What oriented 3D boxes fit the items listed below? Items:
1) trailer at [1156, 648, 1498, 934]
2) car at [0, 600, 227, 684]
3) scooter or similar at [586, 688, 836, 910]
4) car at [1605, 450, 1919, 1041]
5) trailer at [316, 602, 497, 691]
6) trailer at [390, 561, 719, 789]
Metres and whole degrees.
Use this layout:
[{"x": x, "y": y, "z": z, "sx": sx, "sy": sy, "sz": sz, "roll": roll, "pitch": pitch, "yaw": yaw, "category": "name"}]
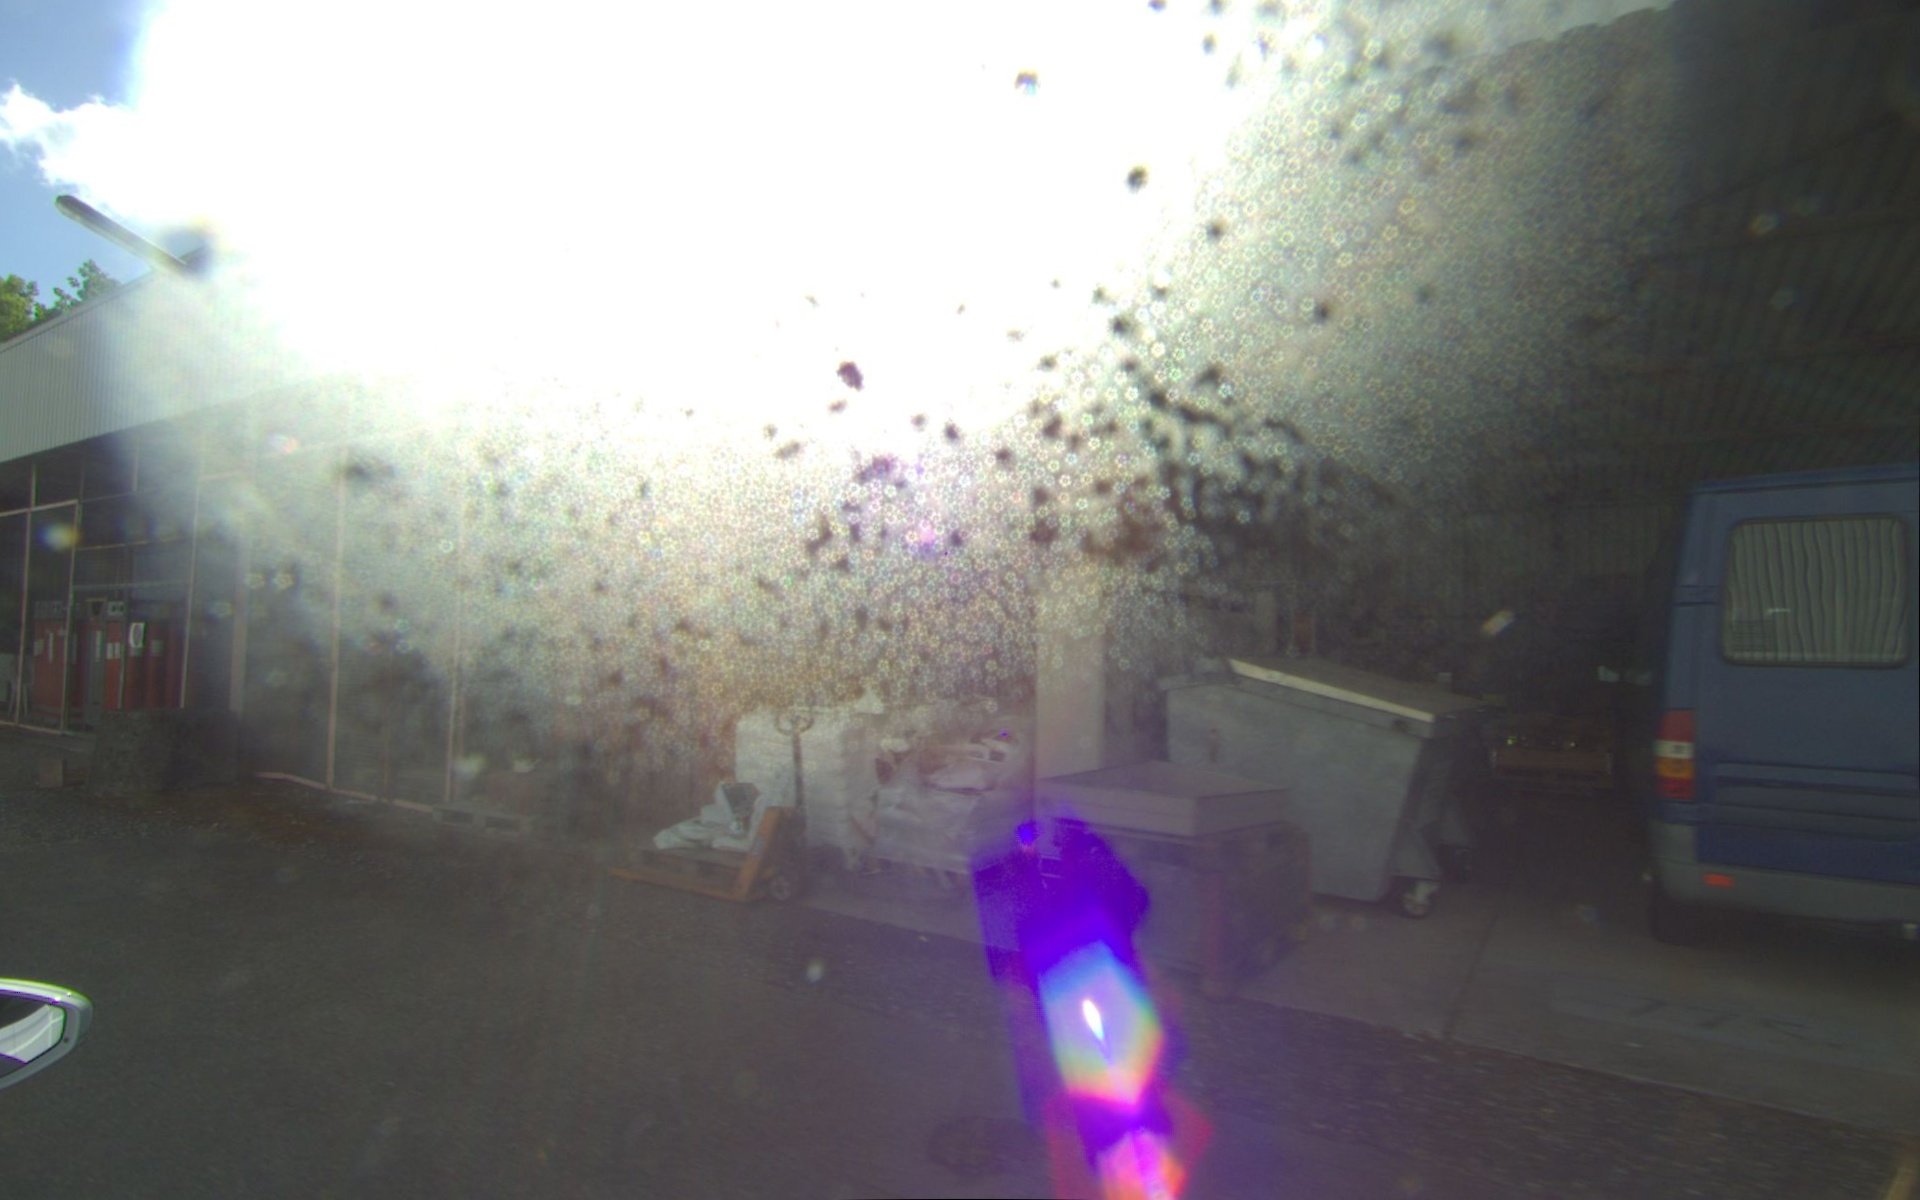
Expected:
[{"x": 2.474, "y": 1.080, "z": 6.577, "sx": 1.620, "sy": 1.480, "sz": 2.089, "roll": -1, "pitch": -4, "yaw": 36, "category": "trailer"}, {"x": -22.147, "y": 1.121, "z": 25.448, "sx": 2.243, "sy": 1.941, "sz": 5.167, "roll": 0, "pitch": -4, "yaw": 27, "category": "car"}, {"x": -1.540, "y": 1.136, "z": 6.099, "sx": 1.570, "sy": 1.148, "sz": 0.519, "roll": -1, "pitch": -3, "yaw": 33, "category": "scooter or similar"}, {"x": 5.229, "y": 0.720, "z": 6.125, "sx": 2.054, "sy": 2.325, "sz": 5.211, "roll": 0, "pitch": -3, "yaw": 32, "category": "car"}, {"x": -14.508, "y": 1.240, "z": 26.359, "sx": 2.431, "sy": 2.164, "sz": 3.397, "roll": 0, "pitch": -3, "yaw": 35, "category": "trailer"}, {"x": -4.538, "y": 0.764, "z": 11.138, "sx": 3.469, "sy": 2.170, "sz": 1.576, "roll": 0, "pitch": -2, "yaw": 30, "category": "trailer"}]
